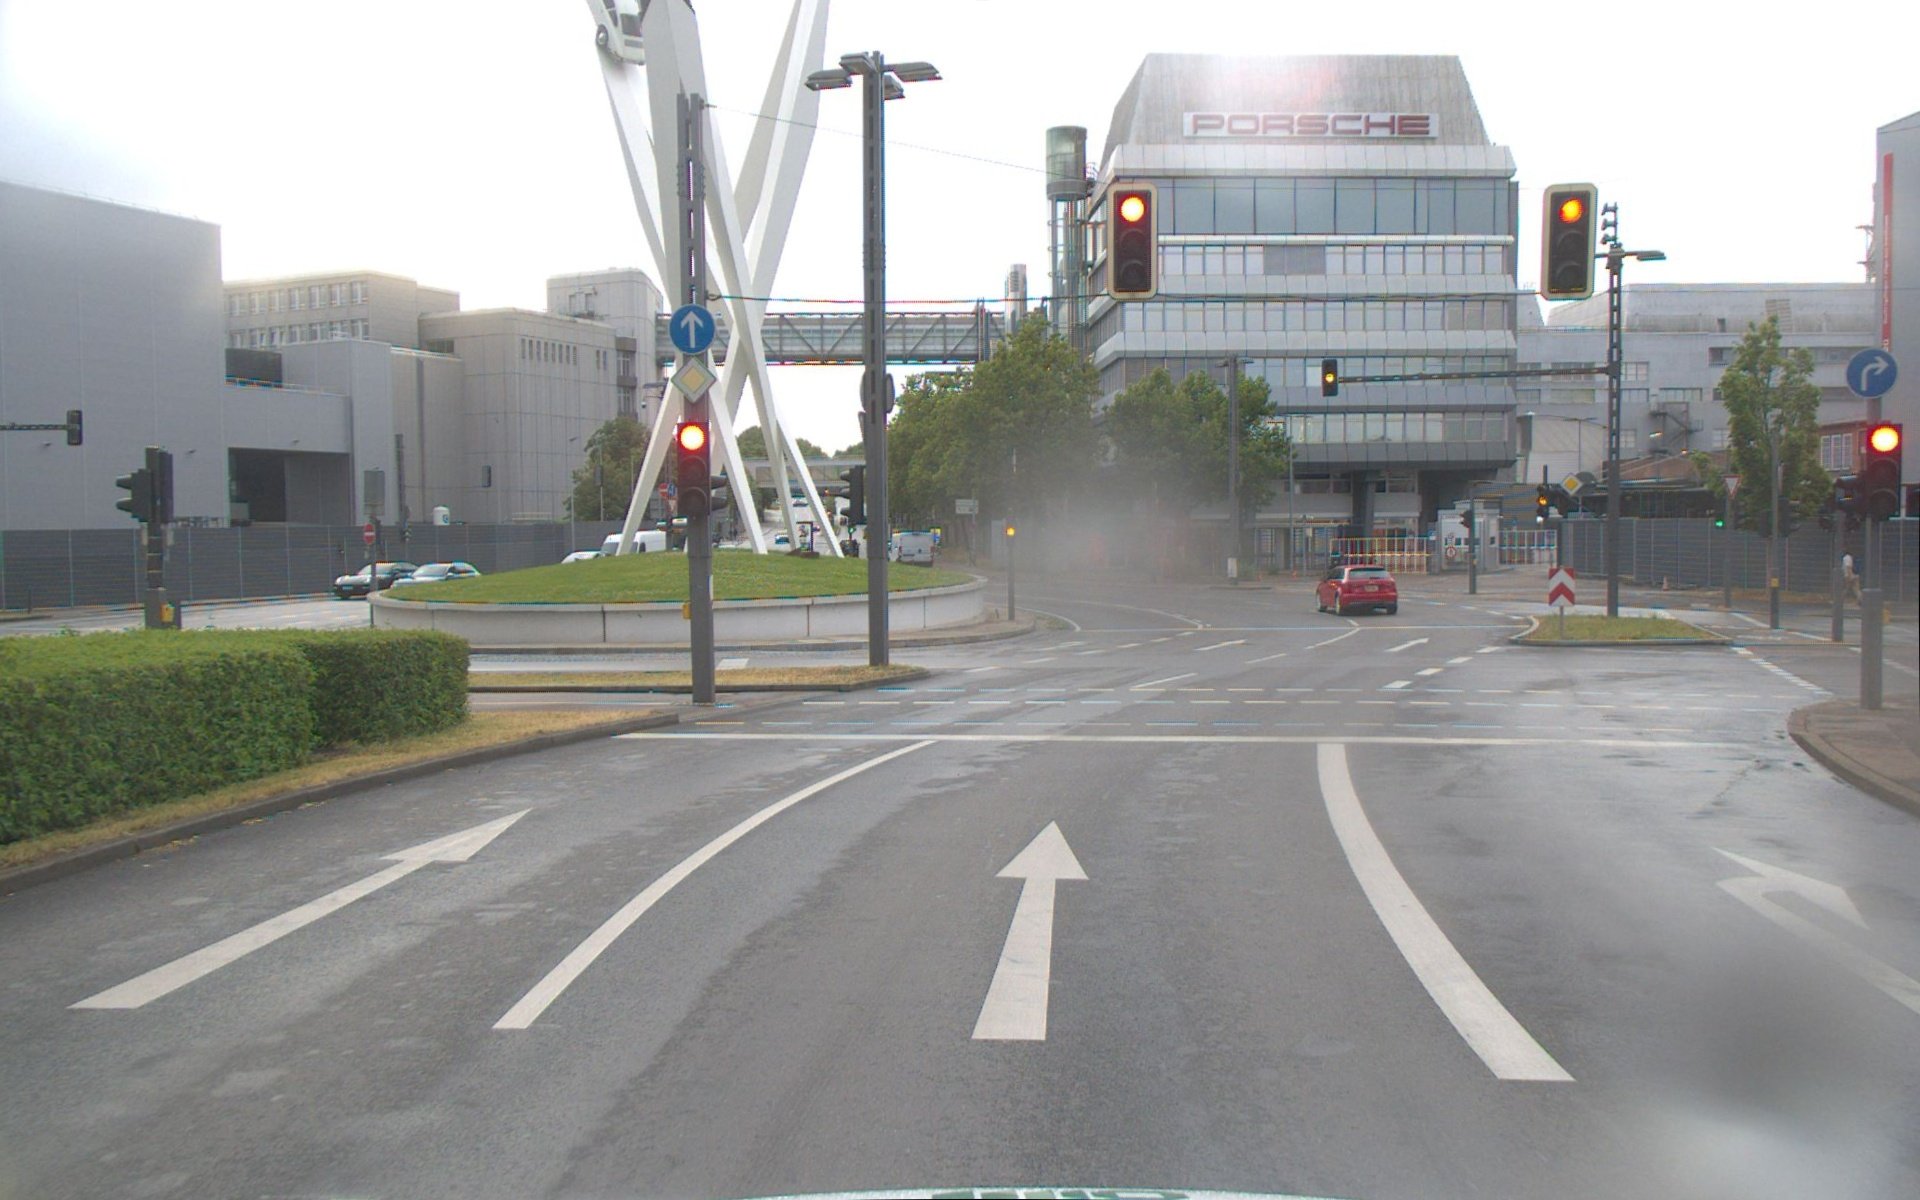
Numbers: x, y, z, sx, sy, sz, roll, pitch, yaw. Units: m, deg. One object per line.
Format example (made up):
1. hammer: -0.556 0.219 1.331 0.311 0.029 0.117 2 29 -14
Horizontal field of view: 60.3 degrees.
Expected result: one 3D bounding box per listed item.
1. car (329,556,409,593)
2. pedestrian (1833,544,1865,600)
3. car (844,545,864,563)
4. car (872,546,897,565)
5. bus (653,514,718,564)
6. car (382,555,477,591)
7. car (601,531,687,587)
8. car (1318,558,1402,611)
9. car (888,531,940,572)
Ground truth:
1. car: -24.969 -1.078 70.044 1.796 1.498 4.513 0 1 -1
2. pedestrian: 26.575 -0.835 49.456 0.792 1.639 0.768 -1 -1 26
3. car: -8.103 -3.504 126.790 1.526 1.311 3.411 0 0 -3
4. car: -5.609 -3.277 122.361 1.635 1.323 3.880 0 0 -6
5. bus: -19.148 -4.166 116.110 2.614 3.256 12.668 0 1 -1
6. car: -20.974 -1.072 65.543 1.806 1.361 4.004 0 1 13
7. car: -14.686 -1.900 77.197 1.951 2.489 5.432 -1 1 12
8. car: 11.812 -0.433 49.012 1.735 1.490 3.734 0 0 3
9. car: -2.687 -2.760 94.650 2.193 2.144 4.941 0 0 -11
